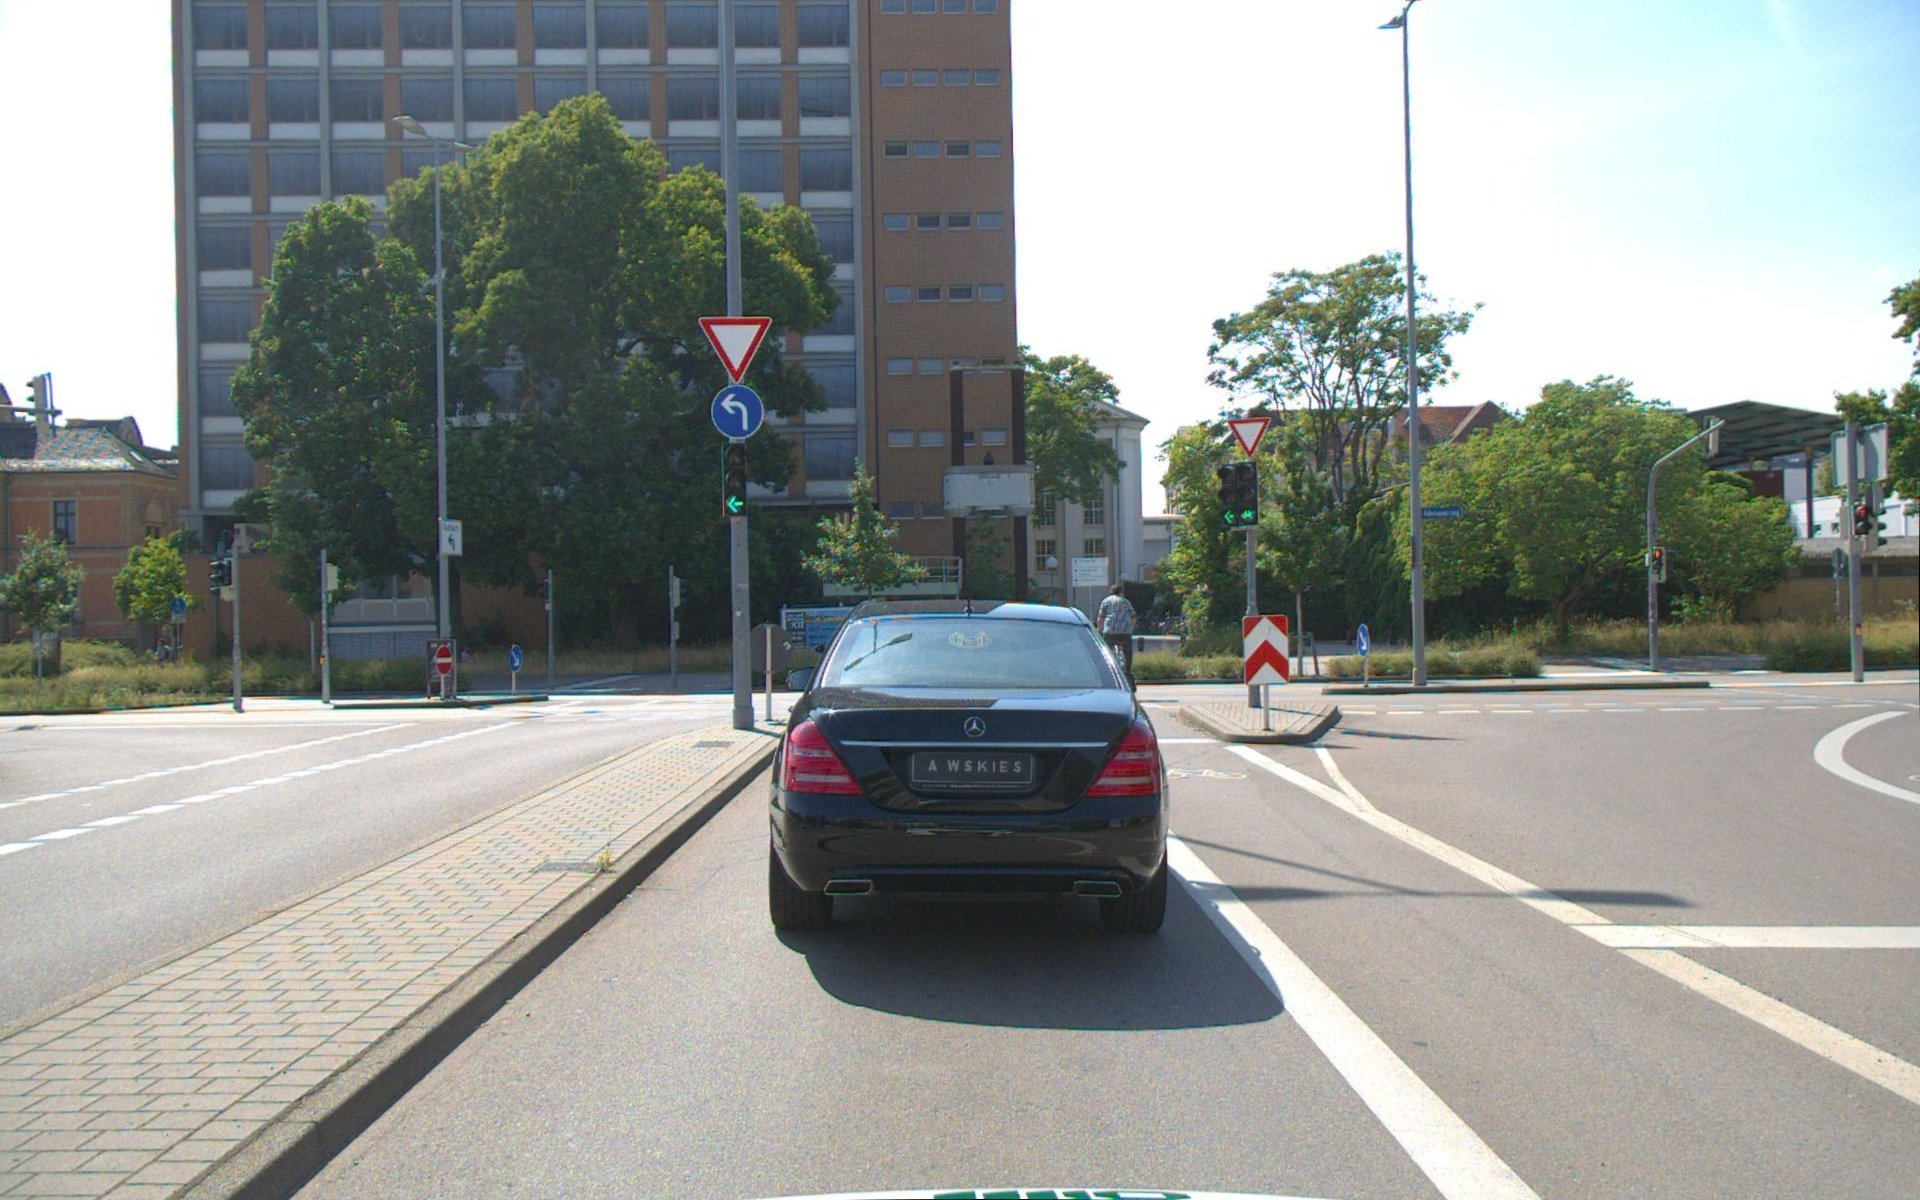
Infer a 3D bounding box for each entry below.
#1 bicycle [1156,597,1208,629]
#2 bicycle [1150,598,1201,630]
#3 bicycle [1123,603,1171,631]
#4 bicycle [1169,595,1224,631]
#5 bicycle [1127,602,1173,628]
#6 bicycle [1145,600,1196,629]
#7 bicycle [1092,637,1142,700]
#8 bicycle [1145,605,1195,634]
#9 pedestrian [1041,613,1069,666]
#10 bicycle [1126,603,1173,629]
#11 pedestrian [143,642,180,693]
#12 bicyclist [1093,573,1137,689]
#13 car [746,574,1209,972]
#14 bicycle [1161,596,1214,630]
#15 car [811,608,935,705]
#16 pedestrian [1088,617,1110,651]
[{"bbox_3d":[12.438,0.743,92.802,2.766,1.678,0.841,-2,0,-2],"label":"bicycle"},{"bbox_3d":[12.267,0.786,94.206,2.766,1.688,0.841,-2,1,-2],"label":"bicycle"},{"bbox_3d":[11.351,1.023,100.263,2.766,1.586,0.841,-2,0,-2],"label":"bicycle"},{"bbox_3d":[12.785,0.705,89.469,2.766,1.868,0.841,-2,0,-2],"label":"bicycle"},{"bbox_3d":[11.926,0.936,103.828,2.765,1.506,0.841,-2,0,0],"label":"bicycle"},{"bbox_3d":[12.132,0.839,95.361,2.766,1.615,0.841,-2,0,-2],"label":"bicycle"},{"bbox_3d":[2.572,1.110,27.252,0.678,0.963,1.958,1,-1,2],"label":"bicycle"},{"bbox_3d":[12.201,1.143,96.262,2.766,1.564,0.841,-2,0,-2],"label":"bicycle"},{"bbox_3d":[2.951,1.217,51.298,0.794,1.607,0.692,-1,-1,1],"label":"pedestrian"},{"bbox_3d":[11.761,0.994,102.461,2.766,1.526,0.841,-2,0,-2],"label":"bicycle"},{"bbox_3d":[-28.273,2.382,58.583,0.781,1.756,0.873,-2,-1,22],"label":"pedestrian"},{"bbox_3d":[2.569,0.510,27.529,0.671,1.911,0.860,0,-1,1],"label":"bicyclist"},{"bbox_3d":[0.014,0.715,8.900,1.821,1.557,4.712,1,-1,-2],"label":"car"},{"bbox_3d":[12.622,0.733,91.726,2.766,1.775,0.841,-2,0,-2],"label":"bicycle"},{"bbox_3d":[-1.588,0.997,28.906,1.761,1.537,3.991,-1,-2,-9],"label":"car"},{"bbox_3d":[5.188,1.264,61.666,0.776,1.235,0.758,1,-1,6],"label":"pedestrian"}]
